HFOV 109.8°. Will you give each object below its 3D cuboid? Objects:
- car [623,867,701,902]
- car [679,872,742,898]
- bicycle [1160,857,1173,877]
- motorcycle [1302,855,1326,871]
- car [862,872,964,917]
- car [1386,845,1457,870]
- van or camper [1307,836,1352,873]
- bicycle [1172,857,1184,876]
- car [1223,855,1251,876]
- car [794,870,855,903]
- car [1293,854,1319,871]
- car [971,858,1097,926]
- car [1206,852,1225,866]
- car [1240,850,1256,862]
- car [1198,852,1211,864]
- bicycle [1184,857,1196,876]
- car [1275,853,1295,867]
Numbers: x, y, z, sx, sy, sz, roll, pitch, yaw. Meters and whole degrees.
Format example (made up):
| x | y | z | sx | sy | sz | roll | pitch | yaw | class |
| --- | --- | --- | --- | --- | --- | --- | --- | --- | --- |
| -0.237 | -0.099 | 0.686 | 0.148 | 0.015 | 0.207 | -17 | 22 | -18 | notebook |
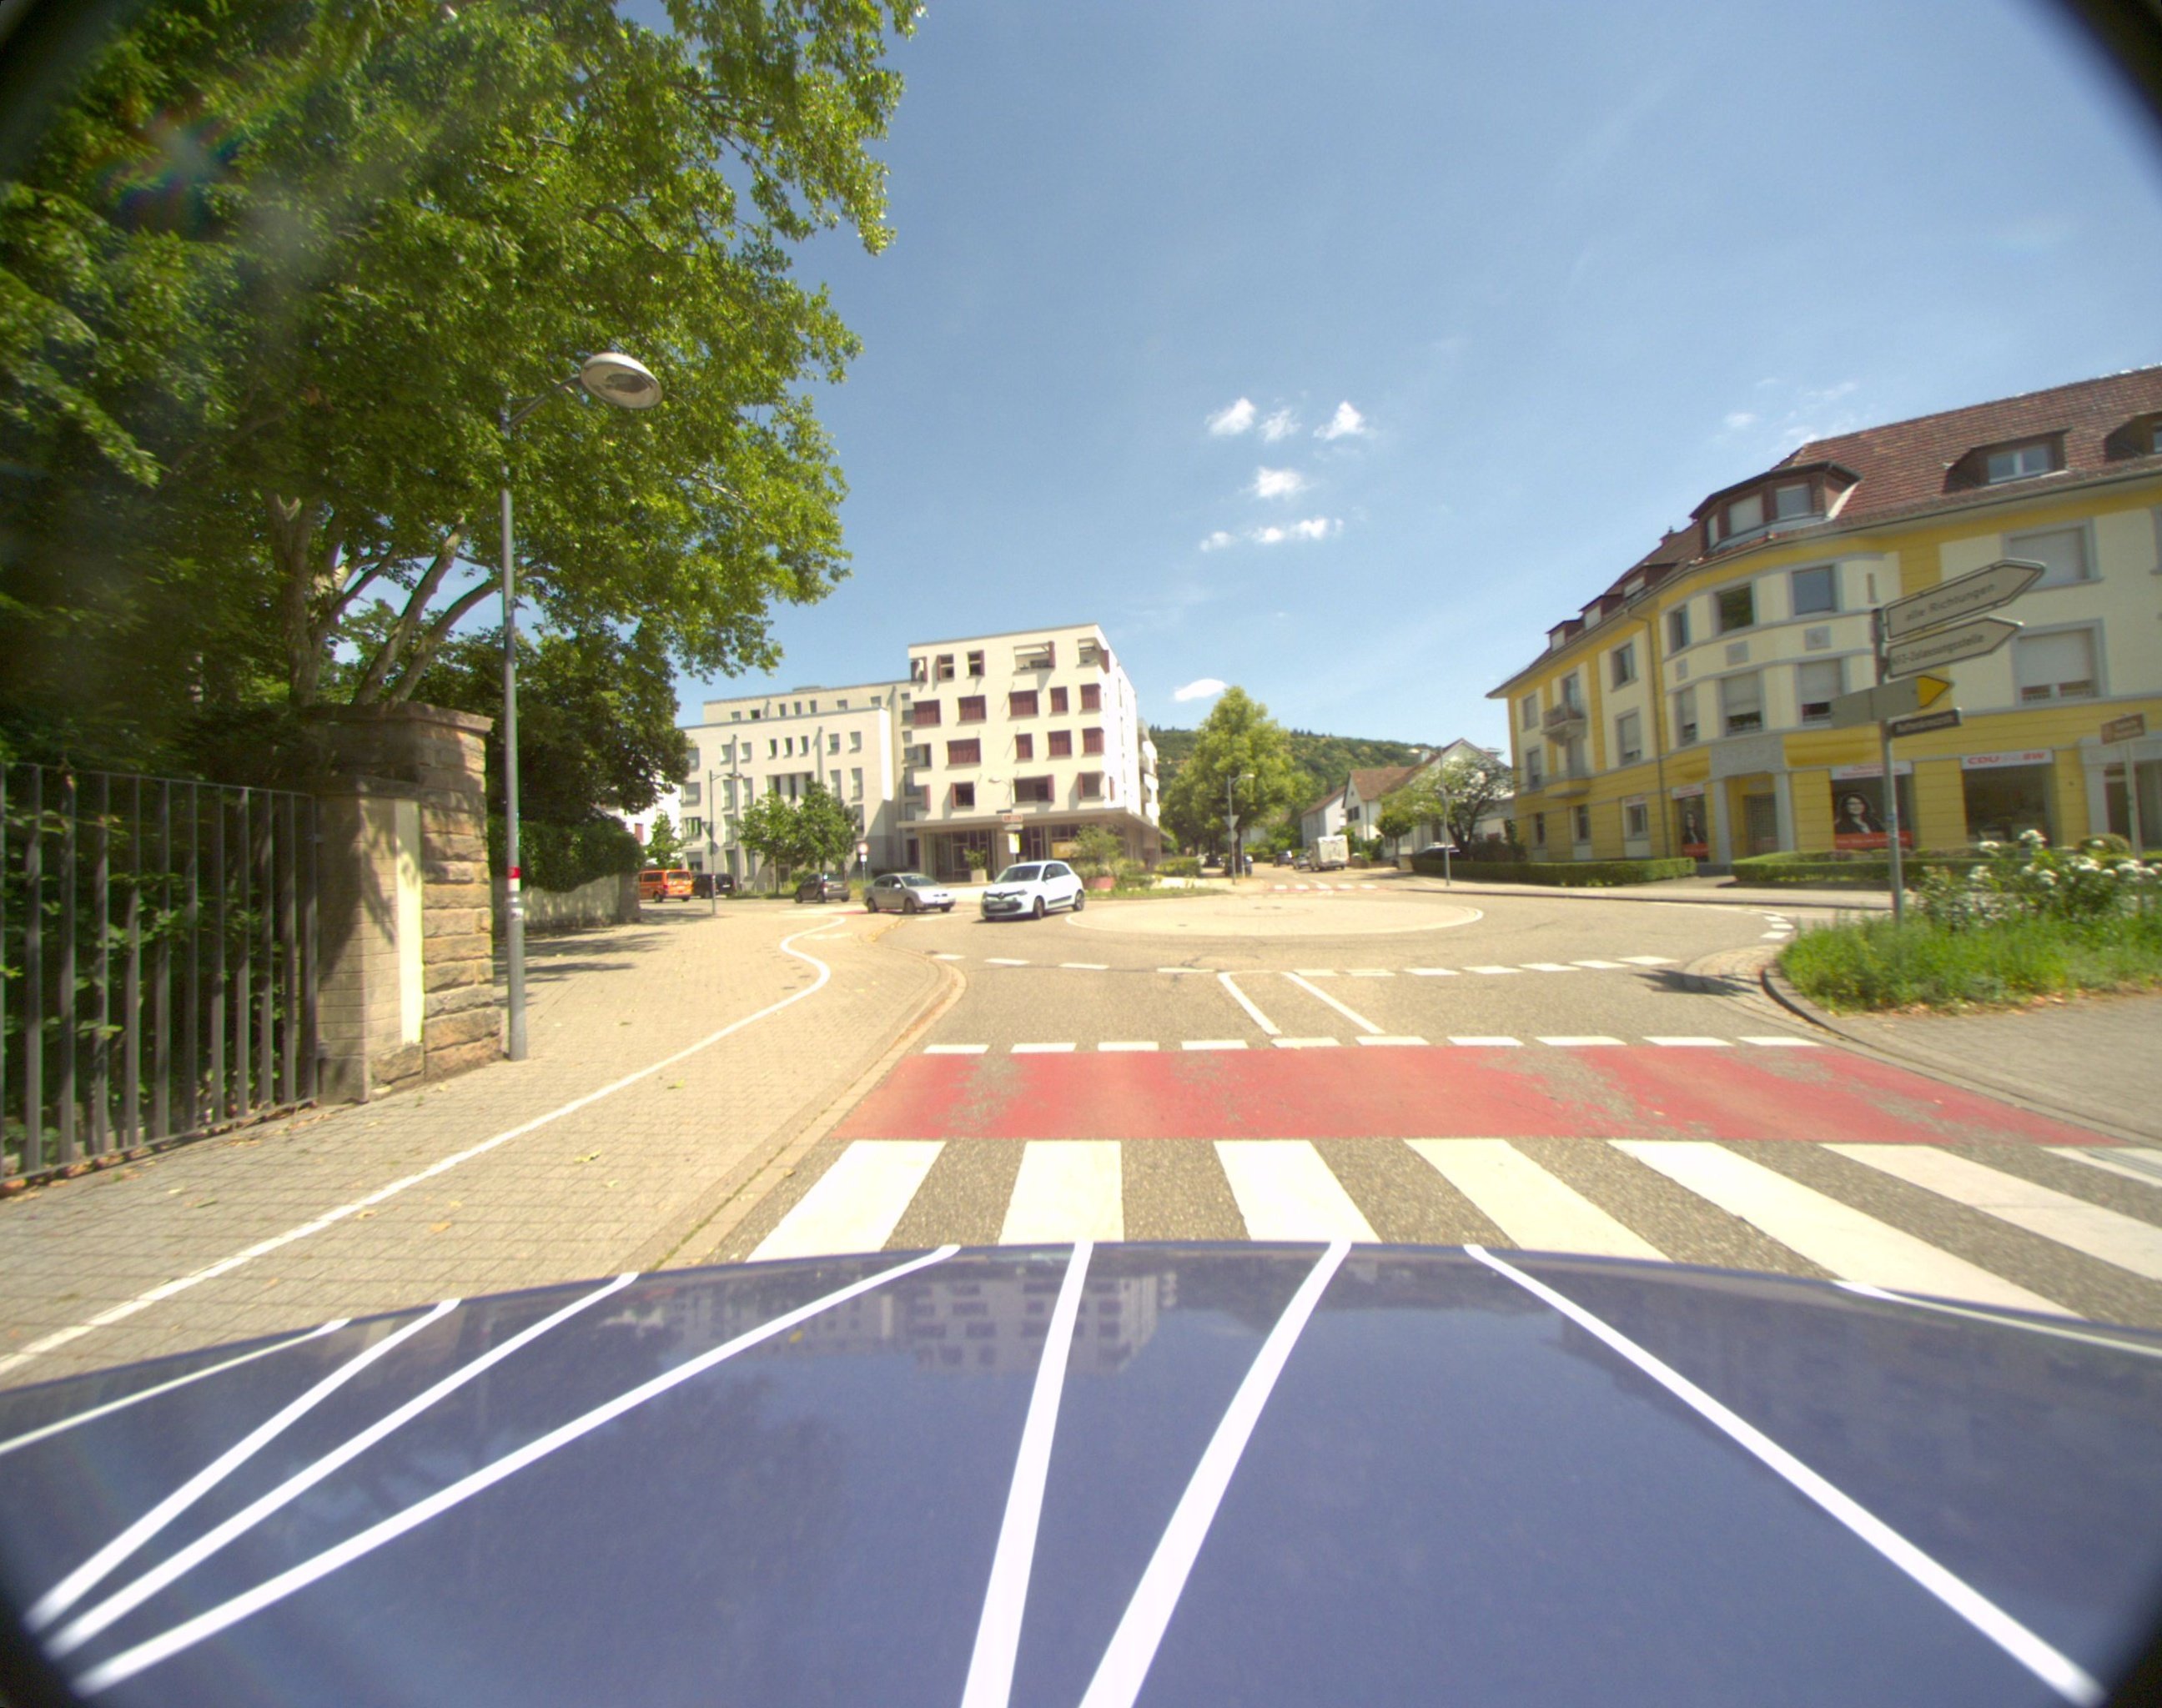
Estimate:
| x | y | z | sx | sy | sz | roll | pitch | yaw | class |
| --- | --- | --- | --- | --- | --- | --- | --- | --- | --- |
| -25.542 | 1.841 | 46.217 | 5.007 | 1.948 | 1.954 | -2 | 1 | 33 | car |
| -24.312 | 2.020 | 49.831 | 4.010 | 1.627 | 1.703 | -1 | 0 | 29 | car |
| 6.173 | 0.930 | 54.971 | 0.569 | 1.369 | 1.750 | -1 | 0 | 17 | bicycle |
| 20.378 | 0.795 | 66.467 | 2.238 | 1.312 | 0.738 | -1 | 0 | -35 | motorcycle |
| -6.107 | 1.409 | 27.382 | 3.989 | 1.443 | 1.612 | -2 | 0 | 43 | car |
| 22.964 | 0.241 | 51.282 | 3.991 | 1.576 | 1.756 | -2 | -1 | -5 | car |
| 19.823 | 0.049 | 60.952 | 2.271 | 2.622 | 5.890 | -4 | -1 | 8 | van or camper |
| 6.998 | 0.907 | 54.730 | 0.569 | 1.369 | 1.750 | -1 | 0 | 17 | bicycle |
| 11.866 | 0.899 | 57.930 | 1.754 | 1.496 | 3.995 | -2 | -1 | 7 | car |
| -12.826 | 1.616 | 37.940 | 2.781 | 1.521 | 1.573 | -2 | 0 | 37 | car |
| 20.908 | 0.748 | 70.764 | 1.754 | 1.496 | 3.996 | -2 | -1 | 9 | car |
| -1.219 | 1.009 | 21.735 | 1.656 | 1.516 | 4.168 | -4 | 1 | 25 | car |
| 16.771 | 0.563 | 94.751 | 1.997 | 1.656 | 4.002 | -1 | 1 | 7 | car |
| 25.410 | 0.331 | 115.549 | 1.997 | 1.656 | 4.002 | -1 | 1 | 7 | car |
| 18.326 | 0.603 | 112.966 | 1.765 | 1.739 | 4.003 | -2 | 0 | 9 | car |
| 7.832 | 0.893 | 54.472 | 0.569 | 1.369 | 1.750 | -1 | 0 | 17 | bicycle |
| 22.943 | 0.725 | 85.584 | 1.754 | 1.496 | 3.996 | -2 | -1 | 9 | car |
